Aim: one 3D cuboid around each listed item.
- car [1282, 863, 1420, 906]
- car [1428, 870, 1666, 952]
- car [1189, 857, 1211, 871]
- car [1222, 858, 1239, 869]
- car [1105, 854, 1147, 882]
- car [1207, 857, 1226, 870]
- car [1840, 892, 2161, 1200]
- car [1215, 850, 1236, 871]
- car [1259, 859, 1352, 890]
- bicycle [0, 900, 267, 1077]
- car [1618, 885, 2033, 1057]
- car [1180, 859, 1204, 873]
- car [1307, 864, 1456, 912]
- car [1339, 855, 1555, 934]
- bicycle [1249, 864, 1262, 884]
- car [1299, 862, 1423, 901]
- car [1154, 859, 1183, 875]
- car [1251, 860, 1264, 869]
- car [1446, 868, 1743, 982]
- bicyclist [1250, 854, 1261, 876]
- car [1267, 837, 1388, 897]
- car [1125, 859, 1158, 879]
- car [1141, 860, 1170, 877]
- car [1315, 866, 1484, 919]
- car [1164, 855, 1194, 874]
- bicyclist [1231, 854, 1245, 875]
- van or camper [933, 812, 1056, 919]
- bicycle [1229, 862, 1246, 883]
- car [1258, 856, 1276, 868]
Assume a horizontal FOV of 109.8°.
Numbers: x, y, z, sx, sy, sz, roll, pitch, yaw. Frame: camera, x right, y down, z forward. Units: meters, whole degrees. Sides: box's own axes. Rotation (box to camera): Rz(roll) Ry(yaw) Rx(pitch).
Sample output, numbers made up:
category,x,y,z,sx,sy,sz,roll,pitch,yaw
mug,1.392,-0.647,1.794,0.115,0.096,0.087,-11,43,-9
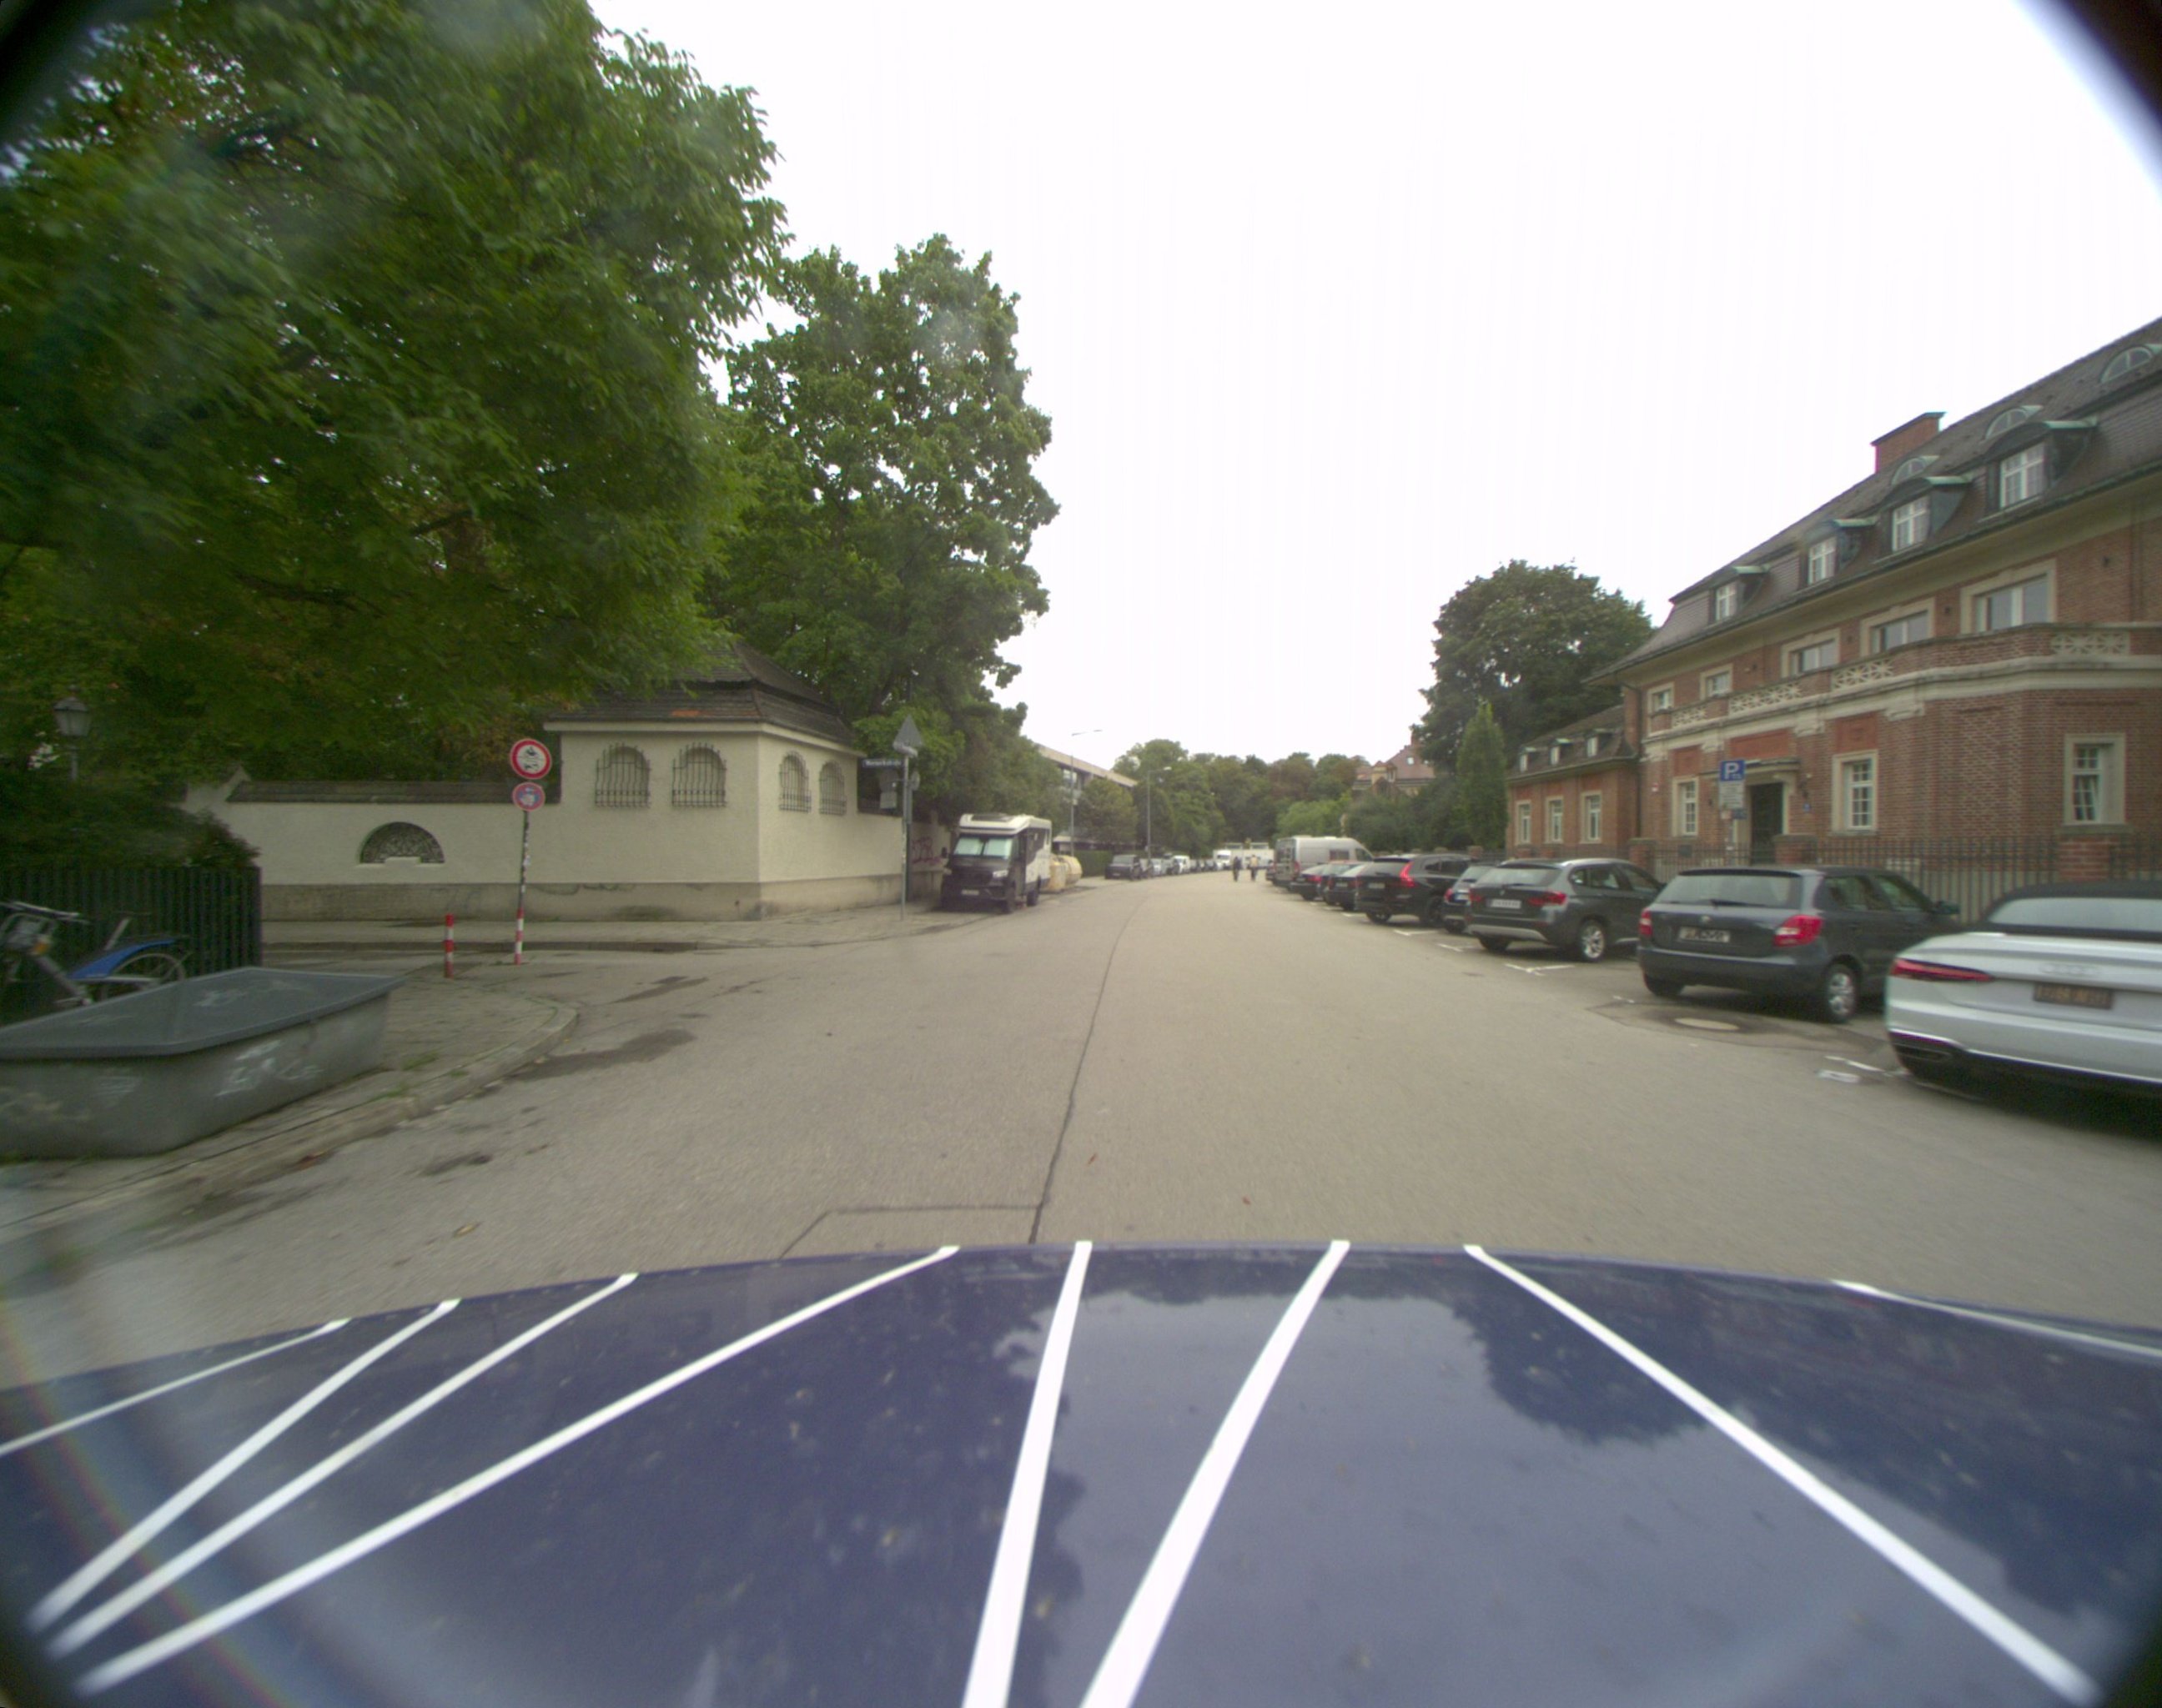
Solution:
category,x,y,z,sx,sy,sz,roll,pitch,yaw
car,9.896,1.114,27.922,4.531,1.442,1.974,1,0,-19
car,9.490,1.118,15.505,4.335,1.463,1.817,2,0,-20
car,13.501,1.151,85.862,1.728,1.520,4.211,2,0,18
car,21.471,1.354,109.164,1.872,1.498,4.845,2,0,17
car,3.330,0.995,55.389,1.990,1.860,5.083,-1,0,16
car,17.312,1.199,96.896,1.873,1.560,5.008,2,0,16
car,7.407,1.052,5.081,4.523,1.442,1.893,0,0,-26
car,19.629,0.942,103.202,2.082,2.671,6.097,2,0,17
car,12.403,1.103,41.980,4.530,1.584,1.962,1,0,-15
bicycle,-8.101,1.011,6.208,0.808,1.155,1.973,0,0,-2
car,8.176,1.095,8.320,4.401,1.442,1.654,1,0,-23
car,11.841,1.237,80.777,1.749,1.455,4.249,1,0,18
car,9.919,1.106,25.070,4.532,1.442,1.817,1,0,-22
car,8.592,0.902,17.863,4.532,1.655,1.984,1,1,-22
bicycle,11.278,1.274,49.078,0.708,1.298,2.121,0,0,15
car,11.464,1.090,31.203,4.530,1.508,1.934,0,0,-17
car,8.163,1.191,70.360,1.750,1.471,4.605,-1,-1,18
car,28.793,1.710,124.051,1.894,1.437,4.274,-2,-2,12
car,8.424,1.032,12.454,4.533,1.558,1.886,0,0,-24
bicyclist,11.287,0.718,49.097,0.697,1.389,0.931,0,0,14
car,10.963,0.594,33.911,4.640,2.548,2.231,1,0,-15
car,4.889,1.160,60.539,1.750,1.530,4.575,0,0,16
car,6.510,1.233,66.040,1.750,1.472,3.894,0,0,18
car,9.406,1.108,22.448,4.532,1.409,1.924,2,0,-22
car,9.740,1.038,75.273,1.824,1.849,4.905,-1,-1,20
bicyclist,10.152,0.697,49.161,0.697,1.344,0.932,0,0,22
van or camper,-2.475,0.317,24.339,2.277,2.889,7.280,0,0,7
bicycle,10.140,1.193,49.264,0.707,1.298,2.122,0,0,22
car,28.639,1.223,116.894,1.995,1.682,4.343,-3,-2,24
